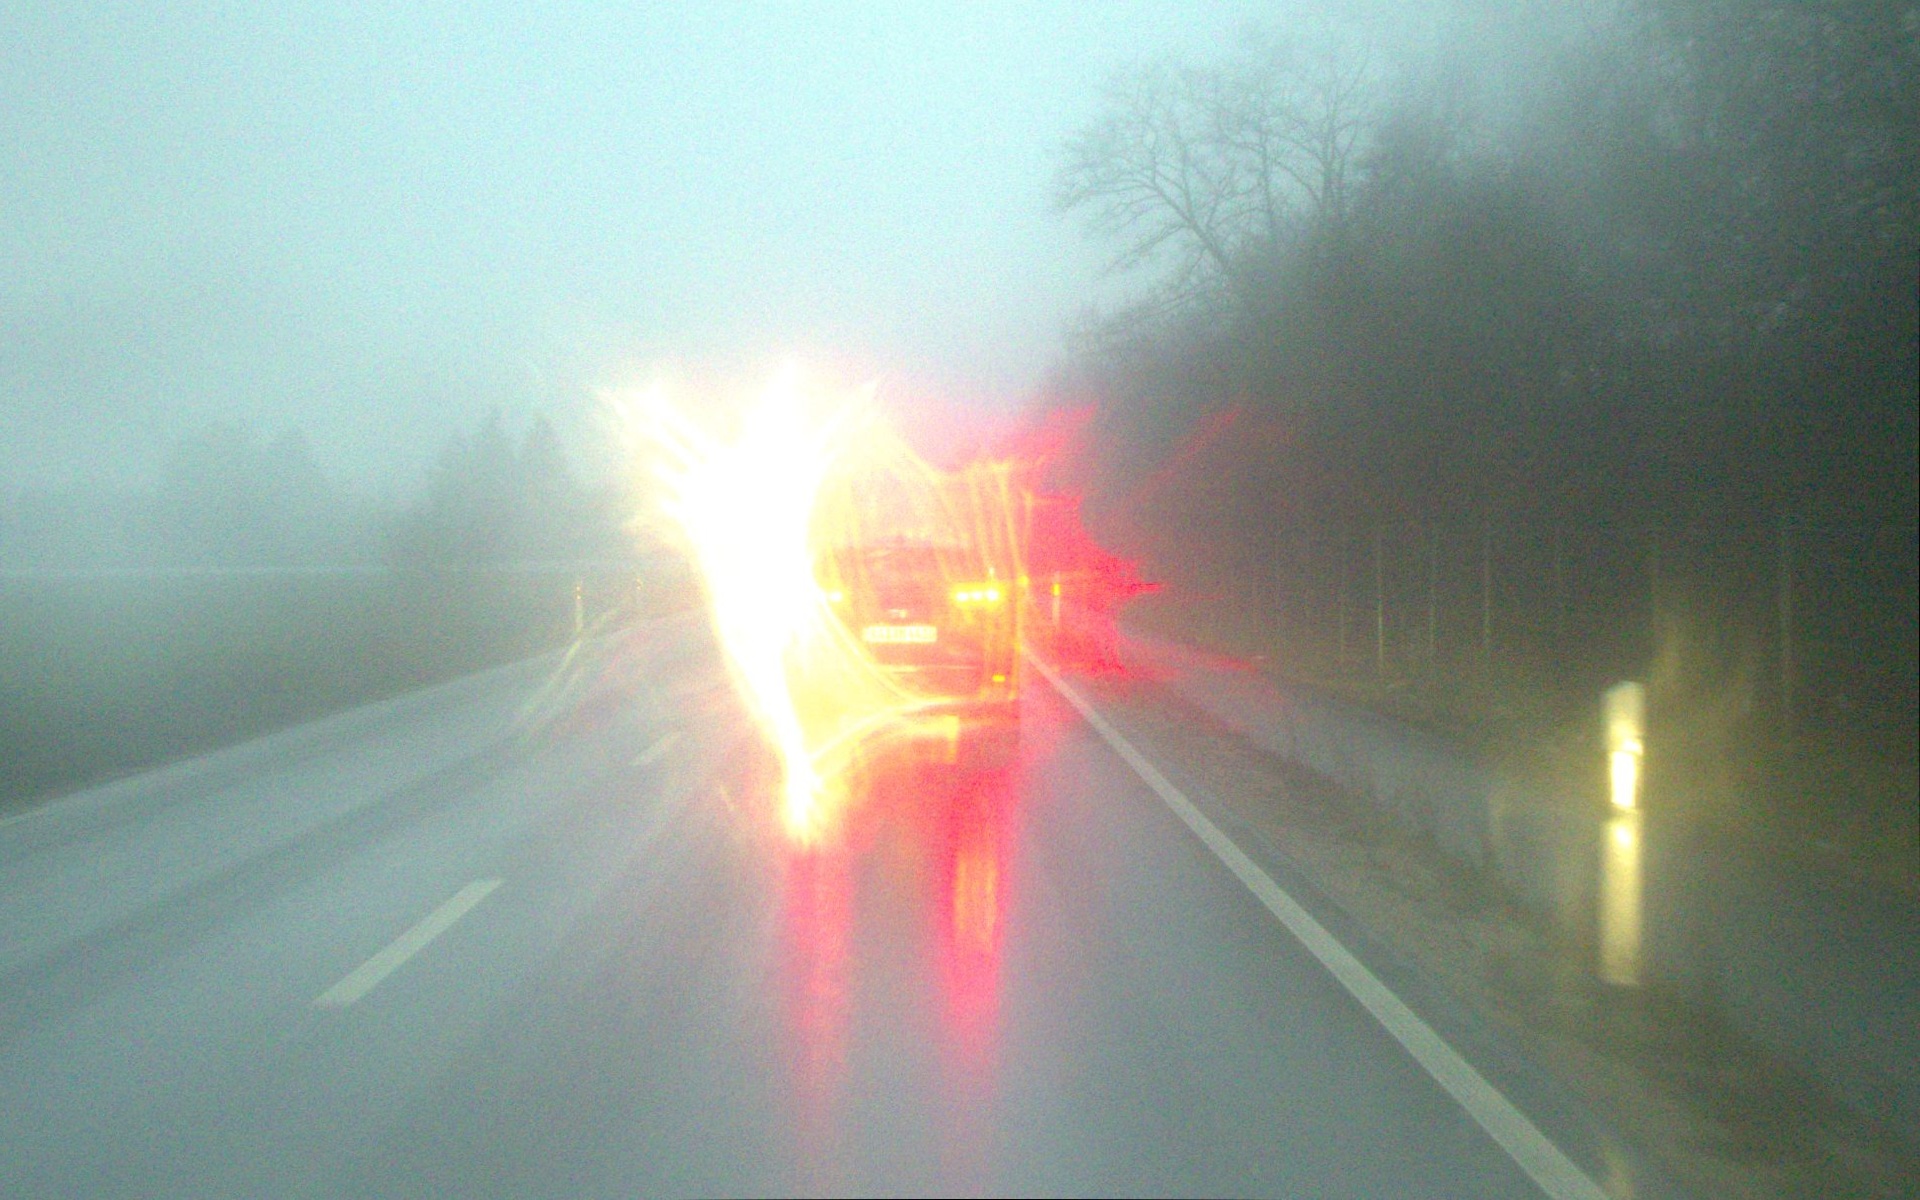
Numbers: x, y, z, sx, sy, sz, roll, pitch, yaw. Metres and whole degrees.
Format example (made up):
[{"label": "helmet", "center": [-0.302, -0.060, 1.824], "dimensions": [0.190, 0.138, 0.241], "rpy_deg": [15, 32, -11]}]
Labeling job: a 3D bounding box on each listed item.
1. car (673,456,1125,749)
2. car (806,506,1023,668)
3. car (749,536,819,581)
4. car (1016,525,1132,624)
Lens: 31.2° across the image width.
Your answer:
[{"label": "car", "center": [-0.465, -0.051, 27.643], "dimensions": [3.164, 2.028, 6.852], "rpy_deg": [-1, 1, -1]}, {"label": "car", "center": [-0.618, -0.231, 47.251], "dimensions": [2.756, 2.028, 6.591], "rpy_deg": [-1, 1, -1]}, {"label": "car", "center": [-5.494, -1.304, 107.729], "dimensions": [1.993, 1.367, 4.398], "rpy_deg": [1, 1, -1]}, {"label": "car", "center": [2.086, -0.482, 63.842], "dimensions": [1.928, 1.744, 4.000], "rpy_deg": [1, 1, -1]}]
